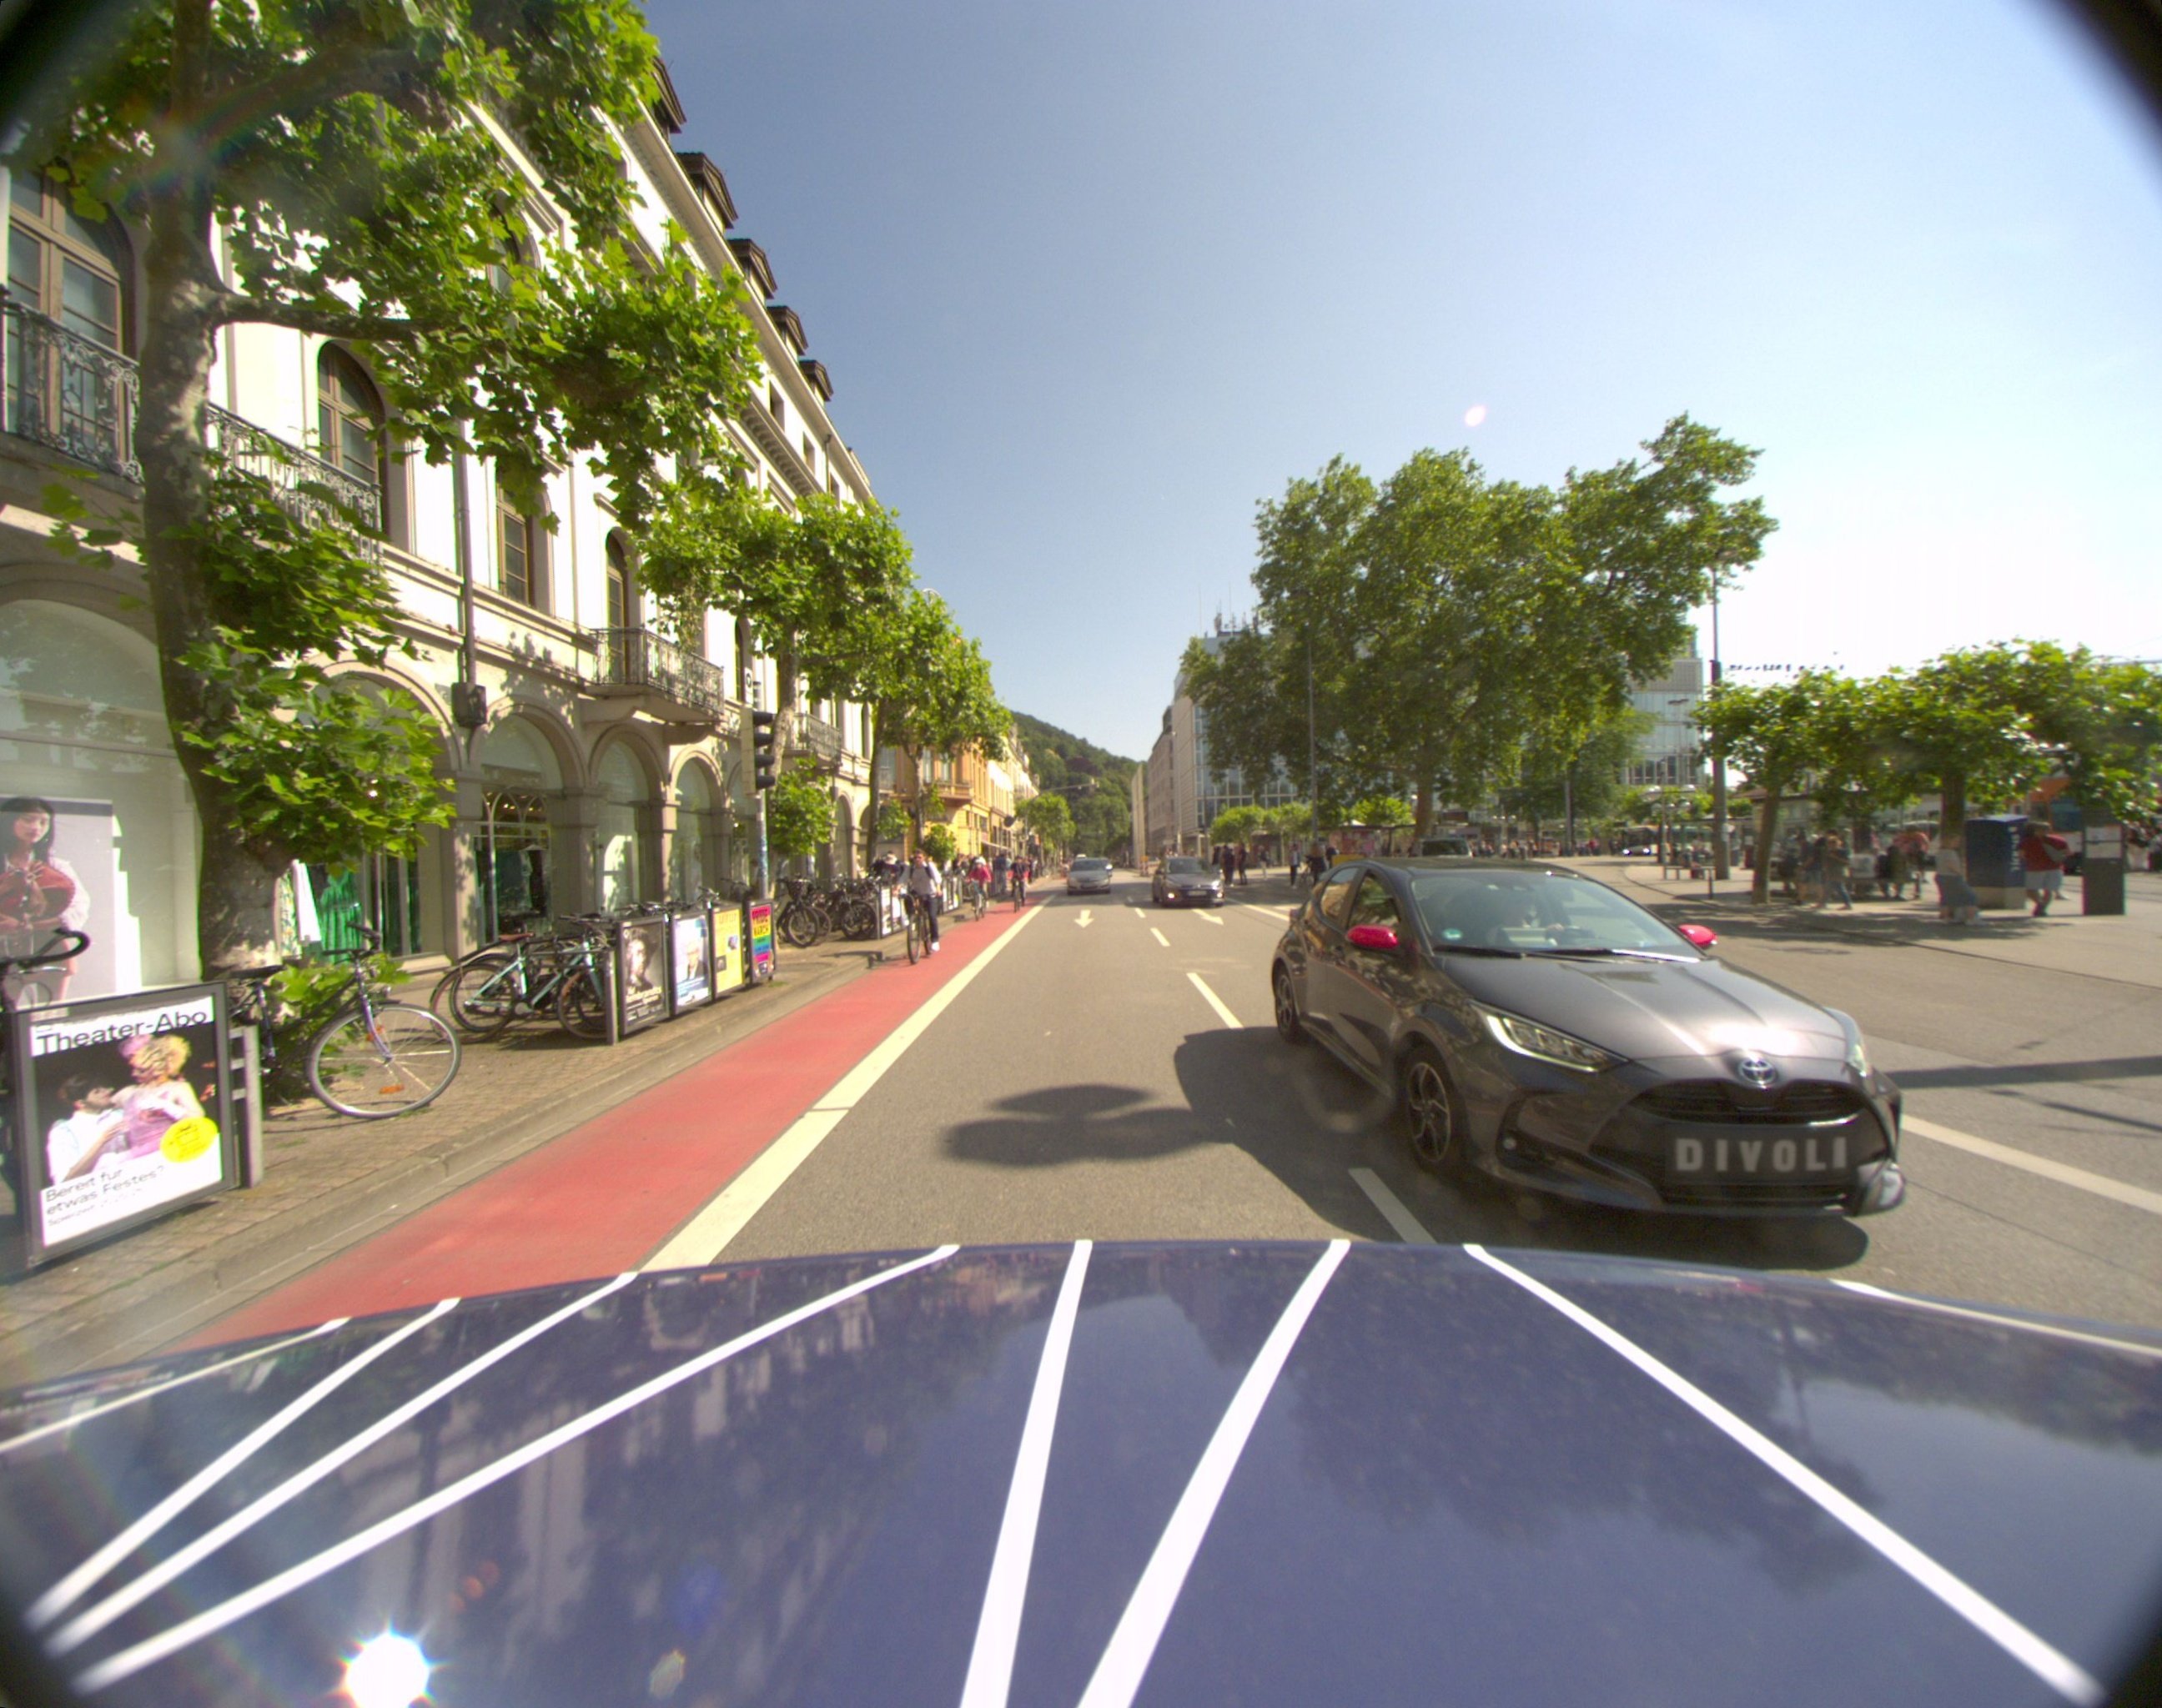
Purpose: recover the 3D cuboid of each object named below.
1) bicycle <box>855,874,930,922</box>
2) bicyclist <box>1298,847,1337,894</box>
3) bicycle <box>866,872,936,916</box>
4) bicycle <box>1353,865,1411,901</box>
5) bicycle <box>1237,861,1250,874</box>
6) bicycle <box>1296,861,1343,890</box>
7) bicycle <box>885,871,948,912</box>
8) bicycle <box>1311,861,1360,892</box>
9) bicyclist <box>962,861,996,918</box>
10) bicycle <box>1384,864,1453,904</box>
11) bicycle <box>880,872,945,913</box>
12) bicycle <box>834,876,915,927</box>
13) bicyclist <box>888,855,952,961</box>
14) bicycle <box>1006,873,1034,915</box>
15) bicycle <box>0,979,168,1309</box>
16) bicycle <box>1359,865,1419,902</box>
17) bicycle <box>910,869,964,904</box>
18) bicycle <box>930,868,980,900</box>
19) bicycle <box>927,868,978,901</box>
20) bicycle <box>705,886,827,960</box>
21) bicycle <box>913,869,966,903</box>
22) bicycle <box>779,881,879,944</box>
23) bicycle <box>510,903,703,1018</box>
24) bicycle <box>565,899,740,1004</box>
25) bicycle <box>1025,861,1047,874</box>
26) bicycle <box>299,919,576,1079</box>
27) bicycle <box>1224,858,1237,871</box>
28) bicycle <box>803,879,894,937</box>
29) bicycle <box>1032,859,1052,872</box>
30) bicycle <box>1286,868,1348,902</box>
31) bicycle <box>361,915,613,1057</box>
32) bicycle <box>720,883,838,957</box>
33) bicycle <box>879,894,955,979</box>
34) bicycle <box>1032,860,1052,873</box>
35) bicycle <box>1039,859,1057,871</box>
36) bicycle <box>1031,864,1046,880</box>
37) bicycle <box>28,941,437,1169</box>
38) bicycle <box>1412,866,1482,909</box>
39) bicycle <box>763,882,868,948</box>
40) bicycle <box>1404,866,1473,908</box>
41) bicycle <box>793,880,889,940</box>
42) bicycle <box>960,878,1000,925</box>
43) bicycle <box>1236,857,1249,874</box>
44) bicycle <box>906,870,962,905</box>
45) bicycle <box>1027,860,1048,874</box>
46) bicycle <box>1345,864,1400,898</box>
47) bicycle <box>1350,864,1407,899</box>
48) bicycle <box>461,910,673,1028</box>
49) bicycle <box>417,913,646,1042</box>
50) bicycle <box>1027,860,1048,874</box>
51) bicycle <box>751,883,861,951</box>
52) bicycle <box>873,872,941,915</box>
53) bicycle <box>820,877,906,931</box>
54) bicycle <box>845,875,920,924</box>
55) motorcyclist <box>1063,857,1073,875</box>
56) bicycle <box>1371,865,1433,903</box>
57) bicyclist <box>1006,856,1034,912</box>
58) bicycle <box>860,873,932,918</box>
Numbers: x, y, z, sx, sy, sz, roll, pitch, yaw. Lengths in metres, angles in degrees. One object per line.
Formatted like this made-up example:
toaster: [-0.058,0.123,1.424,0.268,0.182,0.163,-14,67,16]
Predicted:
bicycle: [-4.841,1.128,19.608,1.757,1.140,0.592,-2,0,-1]
bicyclist: [7.941,0.537,25.537,0.831,1.489,1.160,-3,0,-3]
bicycle: [-4.978,1.100,21.097,1.757,1.140,0.592,-2,0,-1]
bicycle: [10.127,0.967,25.590,1.757,1.140,0.483,-2,1,-1]
bicycle: [14.530,1.230,68.109,0.592,1.140,1.757,-2,0,-7]
bicycle: [9.877,0.885,31.467,1.757,1.140,0.483,-2,1,-1]
bicycle: [-4.996,1.132,23.105,1.757,1.140,0.592,-2,0,-1]
bicycle: [10.059,0.878,30.052,1.757,1.140,0.483,-2,1,-1]
bicyclist: [-2.578,0.895,19.326,0.690,1.388,0.778,-3,0,-1]
bicycle: [10.293,0.905,23.193,1.865,1.140,0.483,-2,1,-1]
bicycle: [-4.962,1.133,22.405,1.757,1.140,0.592,-2,0,-1]
bicycle: [-4.951,1.131,18.275,1.757,1.140,0.592,-2,0,-1]
bicyclist: [-2.511,0.825,11.918,0.750,1.567,0.778,-3,1,0]
bicycle: [-1.749,1.149,22.125,0.667,1.086,1.897,-3,0,-2]
bicycle: [-4.845,1.135,3.023,1.757,1.140,0.483,-2,1,-1]
bicycle: [10.122,0.968,25.016,1.757,1.140,0.483,-2,1,-1]
bicycle: [-5.063,1.135,26.764,1.757,1.140,0.592,-2,0,-1]
bicycle: [-4.734,1.128,28.699,1.757,1.140,0.592,-2,0,-1]
bicycle: [-4.715,1.127,27.993,1.757,1.140,0.592,-2,0,-1]
bicycle: [-5.192,1.130,12.588,1.778,1.140,0.483,-2,1,-1]
bicycle: [-5.096,1.137,27.365,1.757,1.151,0.592,-2,0,-1]
bicycle: [-4.929,1.132,14.911,1.757,1.140,0.483,-2,1,-1]
bicycle: [-5.151,1.144,8.307,1.757,1.140,0.483,-2,1,-1]
bicycle: [-5.055,1.139,9.014,1.757,1.140,0.483,-2,1,-1]
bicycle: [-3.769,1.116,63.564,1.757,1.029,0.592,-2,0,-1]
bicycle: [-5.136,1.144,6.125,1.757,1.140,0.483,-2,1,-1]
bicycle: [13.360,0.894,67.974,0.592,1.140,1.757,-2,0,-7]
bicycle: [-4.902,1.129,16.070,1.757,1.140,0.483,-2,1,-1]
bicycle: [-3.517,1.051,68.025,1.757,1.140,0.592,-2,0,-1]
bicycle: [7.925,1.024,25.667,0.831,1.017,2.624,-3,0,-10]
bicycle: [-5.148,1.128,6.640,1.757,1.099,0.483,-2,1,-1]
bicycle: [-5.194,1.121,13.134,1.804,1.187,0.483,-2,1,-1]
bicycle: [-2.505,1.233,11.854,0.736,1.086,1.897,-3,0,-1]
bicycle: [-3.514,1.112,68.875,1.757,1.140,0.592,-2,0,-1]
bicycle: [-3.286,1.129,75.393,1.757,1.140,0.592,-2,0,-1]
bicycle: [-2.996,1.268,53.441,0.737,1.086,1.895,2,0,-13]
bicycle: [-4.858,1.130,4.414,1.757,1.140,0.483,-2,1,-1]
bicycle: [10.405,0.954,21.623,1.757,1.140,0.483,-2,1,-1]
bicycle: [-4.973,1.135,14.277,1.757,1.140,0.483,-2,1,-1]
bicycle: [10.407,0.953,22.135,1.757,1.140,0.483,-2,1,-1]
bicycle: [-4.891,1.128,15.540,1.757,1.140,0.483,-2,1,-1]
bicycle: [-2.538,1.175,19.257,0.736,1.086,1.819,-3,0,-1]
bicycle: [11.631,0.826,54.656,0.729,1.137,1.914,-3,0,14]
bicycle: [-5.015,1.133,26.008,1.757,1.140,0.592,-2,0,-1]
bicycle: [-3.752,1.109,65.404,1.757,1.140,0.592,-2,0,-1]
bicycle: [10.319,0.957,26.893,1.757,1.140,0.483,-2,1,-1]
bicycle: [10.268,0.960,26.213,1.757,1.140,0.483,-2,1,-1]
bicycle: [-5.154,1.144,7.673,1.757,1.062,0.483,-2,0,-1]
bicycle: [-5.152,1.144,7.179,1.757,1.081,0.483,-2,0,-1]
bicycle: [-3.720,1.109,64.567,1.757,1.140,0.592,-2,0,-1]
bicycle: [-4.955,1.132,13.740,1.757,1.140,0.483,-2,1,-1]
bicycle: [-4.971,1.131,21.773,1.757,1.140,0.592,-2,0,-1]
bicycle: [-4.956,1.132,17.314,1.757,1.140,0.592,-2,0,-1]
bicycle: [-4.936,1.130,18.968,1.707,1.140,0.519,-2,0,-1]
motorcyclist: [-1.070,0.957,61.998,0.736,1.445,0.707,-3,1,1]
bicycle: [10.273,0.960,24.327,1.757,1.140,0.483,-2,1,-1]
bicyclist: [-1.774,0.852,22.178,0.690,1.567,0.778,-3,1,-2]
bicycle: [-4.952,1.103,20.369,1.757,1.140,0.592,-2,0,-1]
